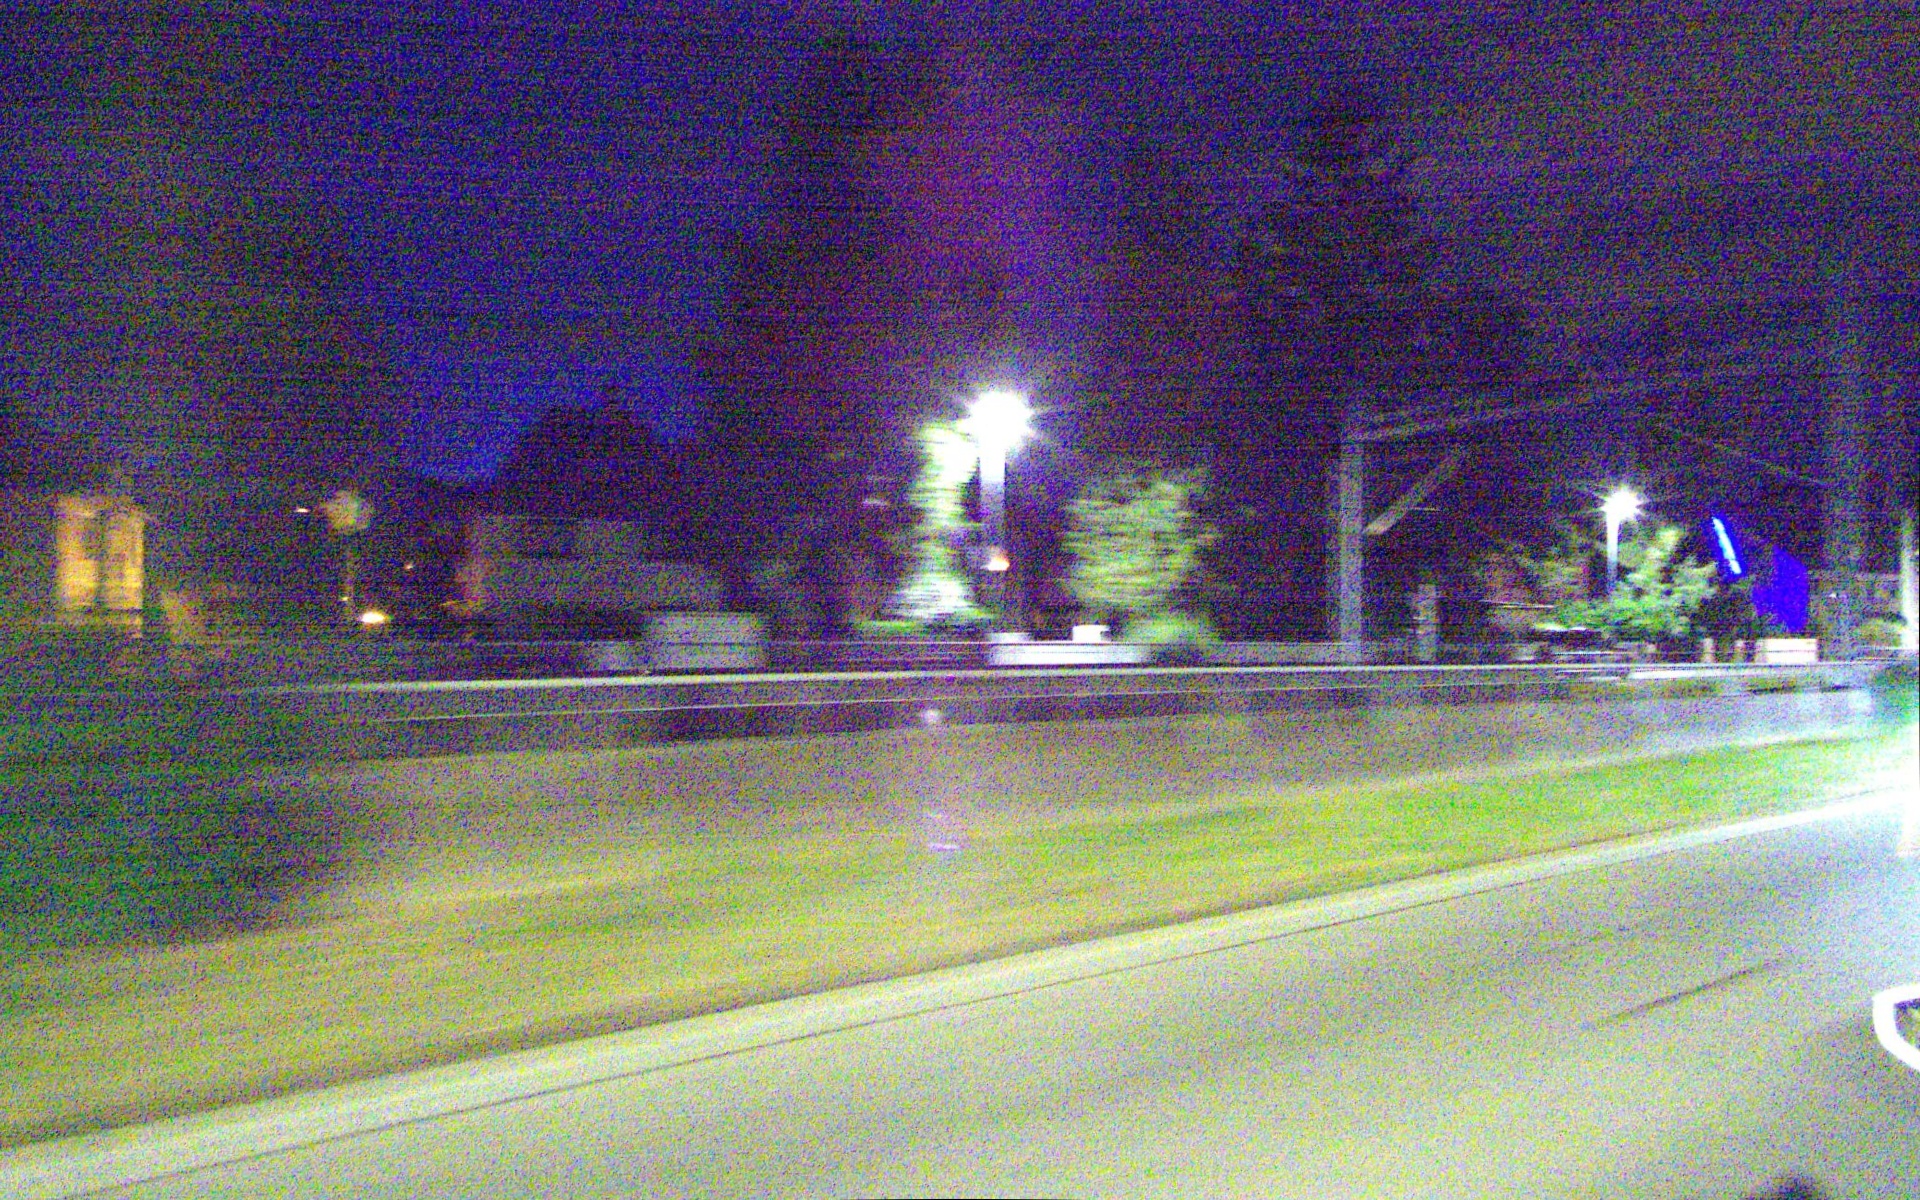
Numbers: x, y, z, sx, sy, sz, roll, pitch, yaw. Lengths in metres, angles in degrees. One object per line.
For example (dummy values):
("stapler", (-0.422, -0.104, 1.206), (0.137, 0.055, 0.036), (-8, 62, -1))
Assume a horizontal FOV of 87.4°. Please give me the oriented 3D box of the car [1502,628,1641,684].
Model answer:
("car", (17.832, 1.595, 29.259), (4.049, 1.525, 1.856), (2, -2, -32))
